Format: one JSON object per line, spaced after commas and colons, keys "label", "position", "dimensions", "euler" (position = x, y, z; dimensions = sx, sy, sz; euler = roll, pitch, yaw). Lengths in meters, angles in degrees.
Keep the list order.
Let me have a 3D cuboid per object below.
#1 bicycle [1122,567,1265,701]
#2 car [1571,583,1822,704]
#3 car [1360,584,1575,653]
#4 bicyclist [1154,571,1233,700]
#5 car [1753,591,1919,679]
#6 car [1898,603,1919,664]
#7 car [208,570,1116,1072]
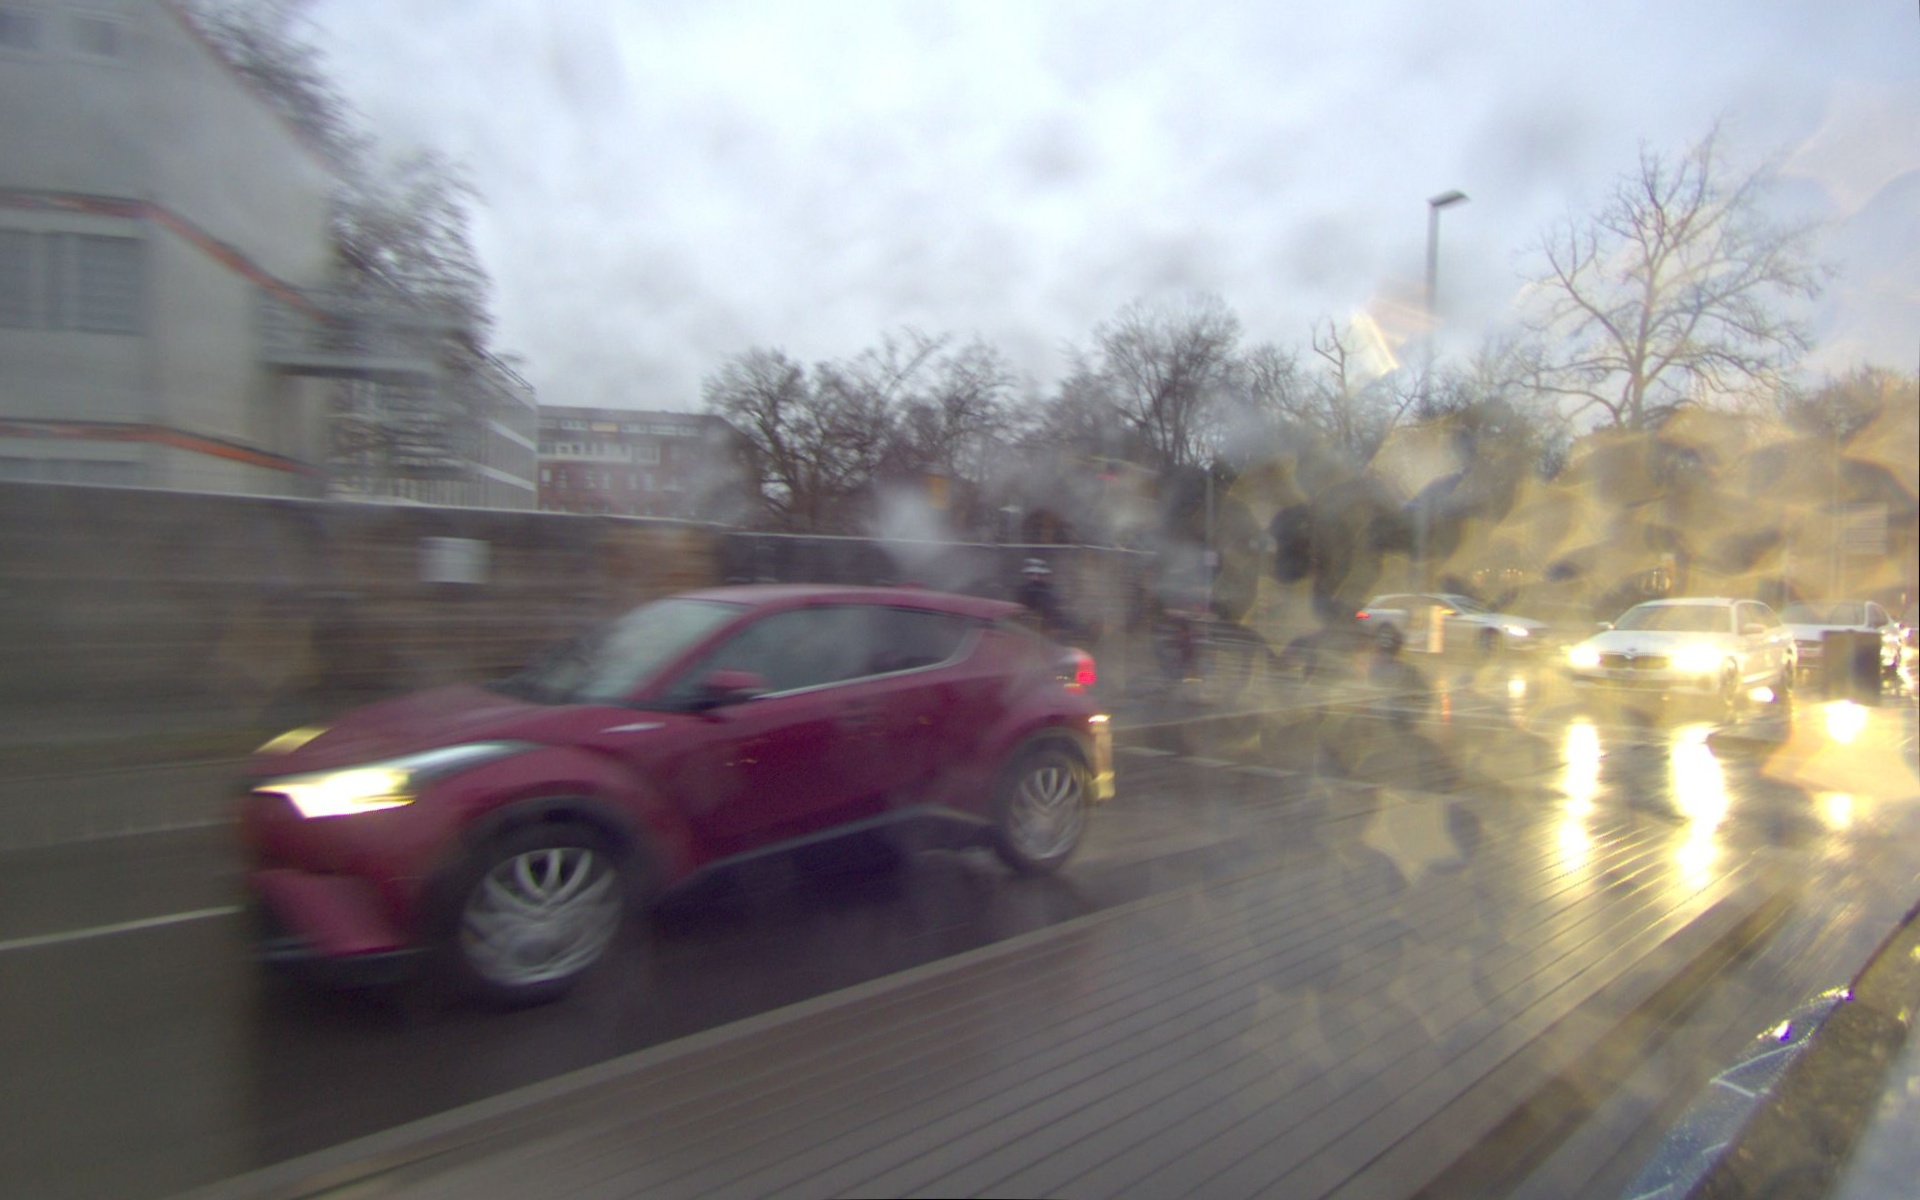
{"label": "bicycle", "position": [3.132, 0.420, 13.862], "dimensions": [0.676, 1.678, 2.251], "euler": [-1, 0, -24]}
{"label": "car", "position": [11.144, 0.519, 15.177], "dimensions": [4.877, 1.520, 1.791], "euler": [-1, 1, -38]}
{"label": "car", "position": [12.592, 0.382, 25.420], "dimensions": [1.845, 1.507, 4.522], "euler": [0, 2, -32]}
{"label": "bicyclist", "position": [3.179, 0.457, 13.825], "dimensions": [0.683, 1.700, 0.819], "euler": [0, 1, -26]}
{"label": "car", "position": [17.392, 0.609, 19.939], "dimensions": [3.965, 1.479, 1.779], "euler": [-1, 2, -36]}
{"label": "car", "position": [27.422, 0.906, 27.912], "dimensions": [4.007, 1.517, 1.879], "euler": [-2, 2, -41]}
{"label": "car", "position": [-1.190, 0.627, 4.982], "dimensions": [3.930, 1.498, 1.725], "euler": [-2, 1, -40]}
